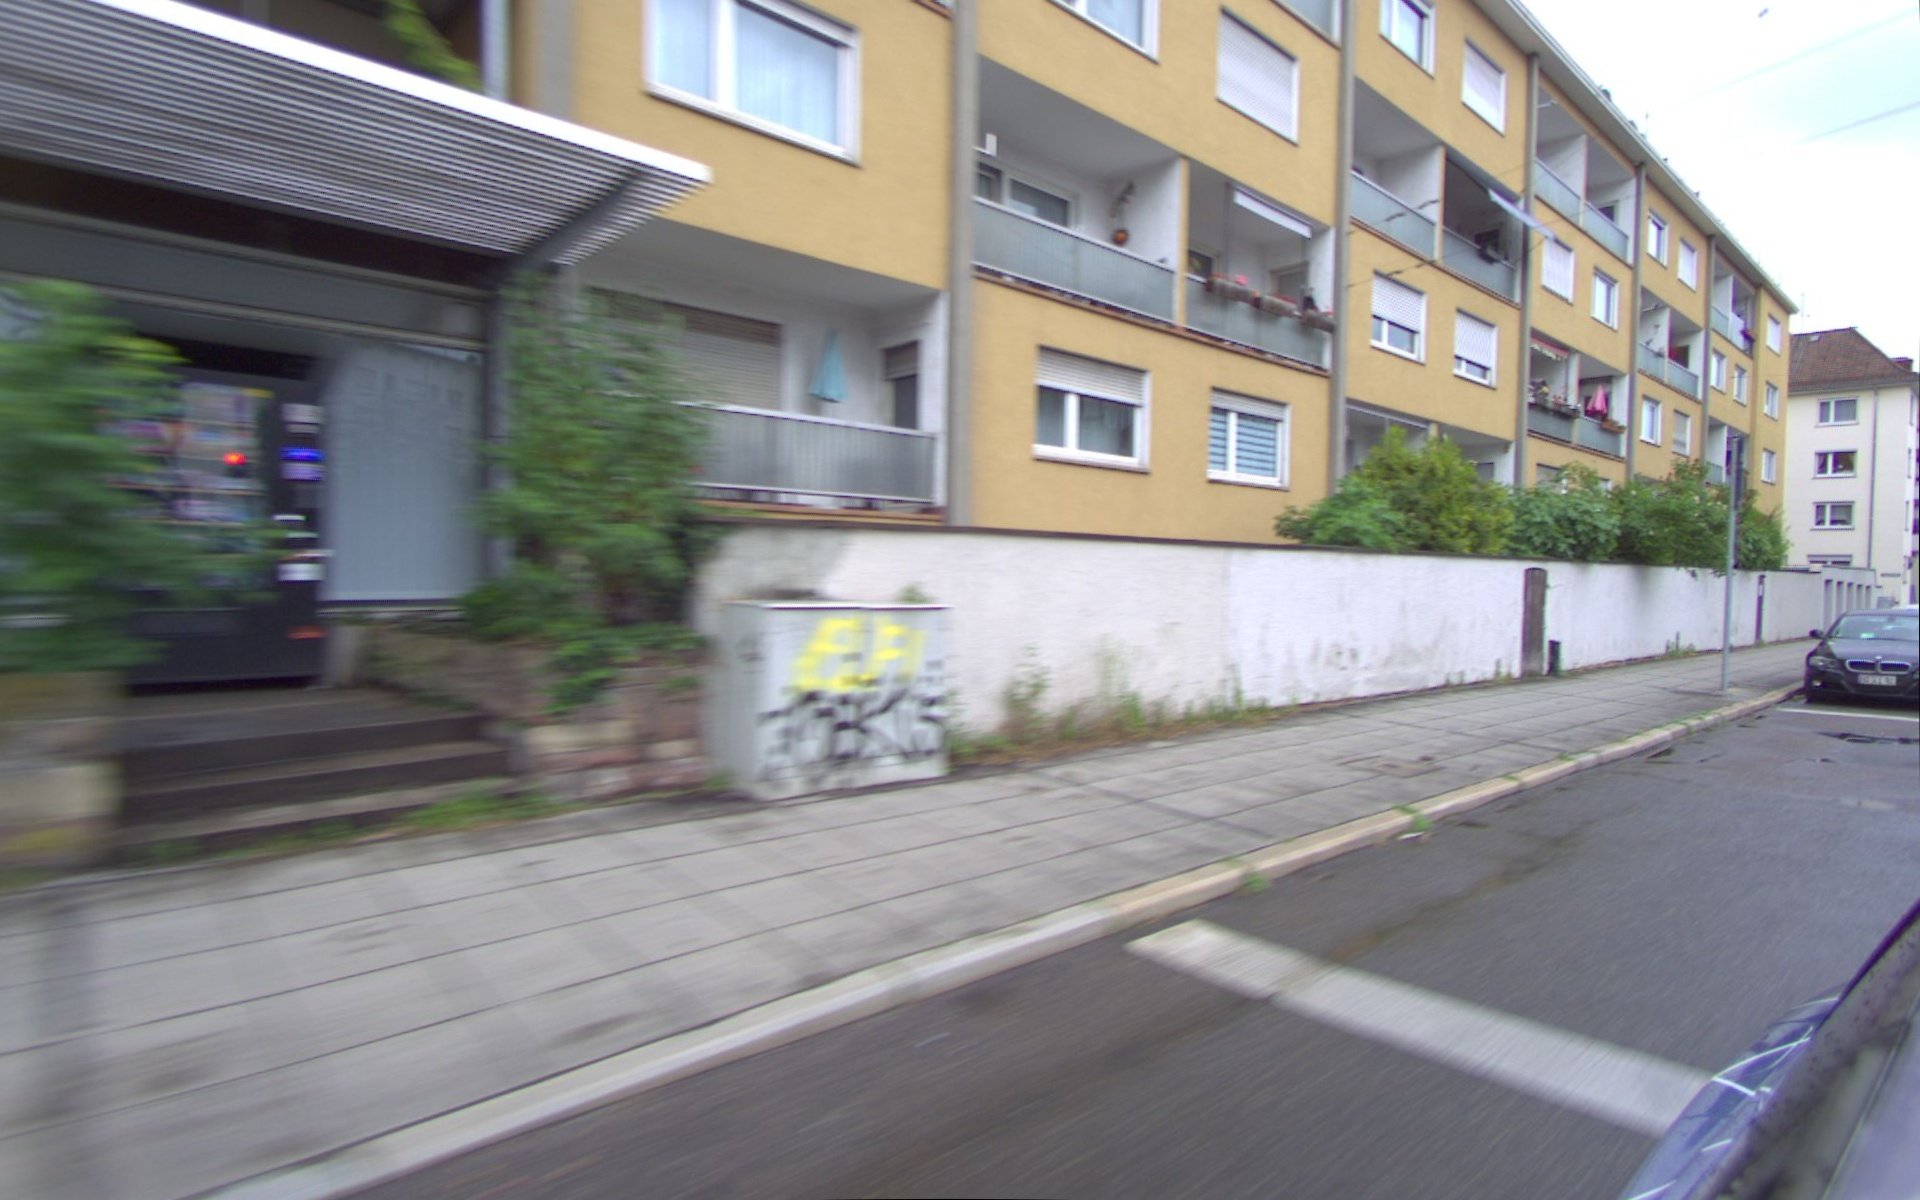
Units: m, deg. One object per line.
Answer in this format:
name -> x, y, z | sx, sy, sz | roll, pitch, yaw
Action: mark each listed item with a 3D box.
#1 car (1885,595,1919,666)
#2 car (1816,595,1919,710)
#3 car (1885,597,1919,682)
car -> 22.588, 0.679, 23.229 | 3.494, 1.471, 1.688 | -2, 2, -43
car -> 14.685, 0.721, 15.606 | 4.403, 1.478, 1.732 | -2, 2, -43
car -> 18.818, 0.716, 19.181 | 4.034, 1.478, 1.649 | 0, 1, -44
